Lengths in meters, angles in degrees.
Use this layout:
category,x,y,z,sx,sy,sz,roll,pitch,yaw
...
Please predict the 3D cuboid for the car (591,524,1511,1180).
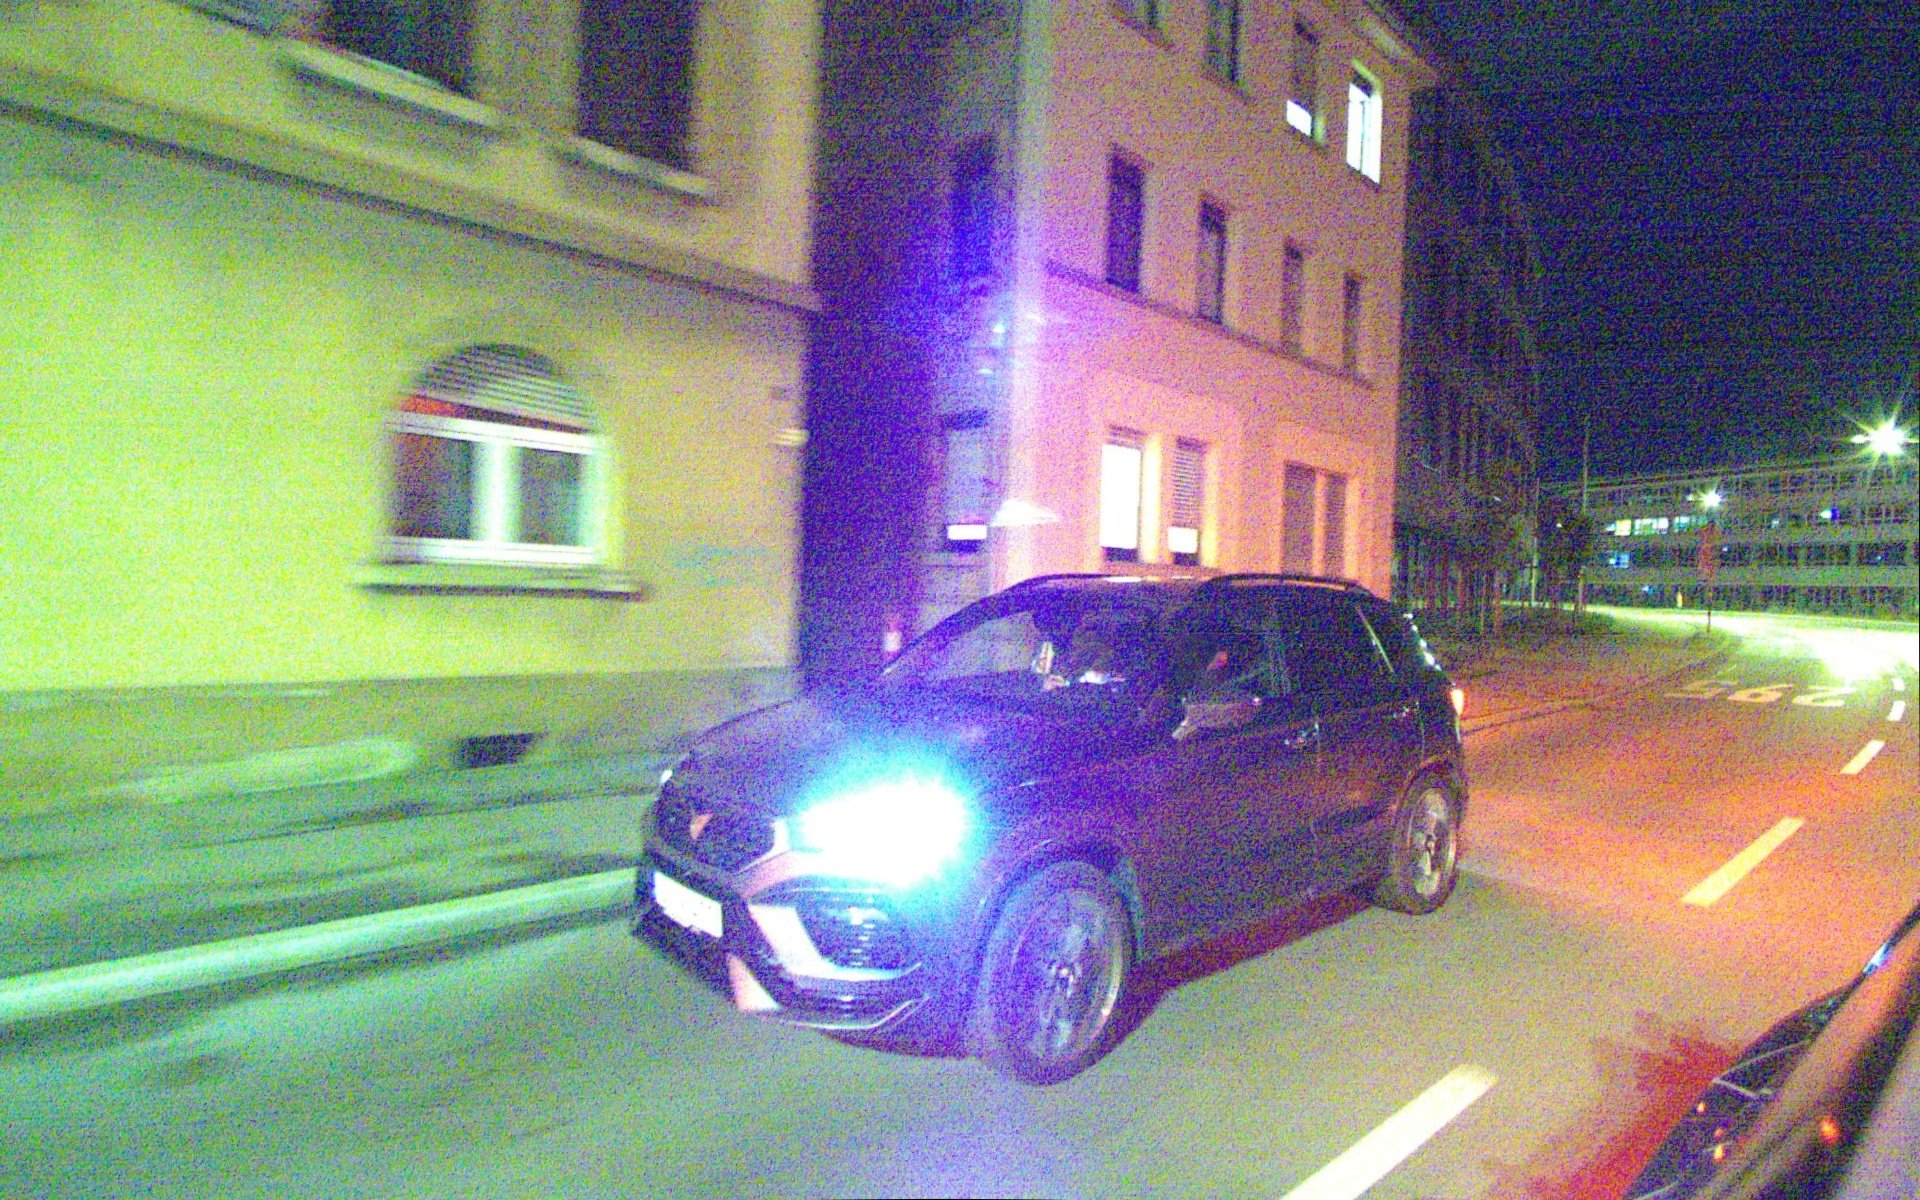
category,x,y,z,sx,sy,sz,roll,pitch,yaw
car,0.729,0.581,4.507,4.155,1.630,1.673,-1,1,-41
